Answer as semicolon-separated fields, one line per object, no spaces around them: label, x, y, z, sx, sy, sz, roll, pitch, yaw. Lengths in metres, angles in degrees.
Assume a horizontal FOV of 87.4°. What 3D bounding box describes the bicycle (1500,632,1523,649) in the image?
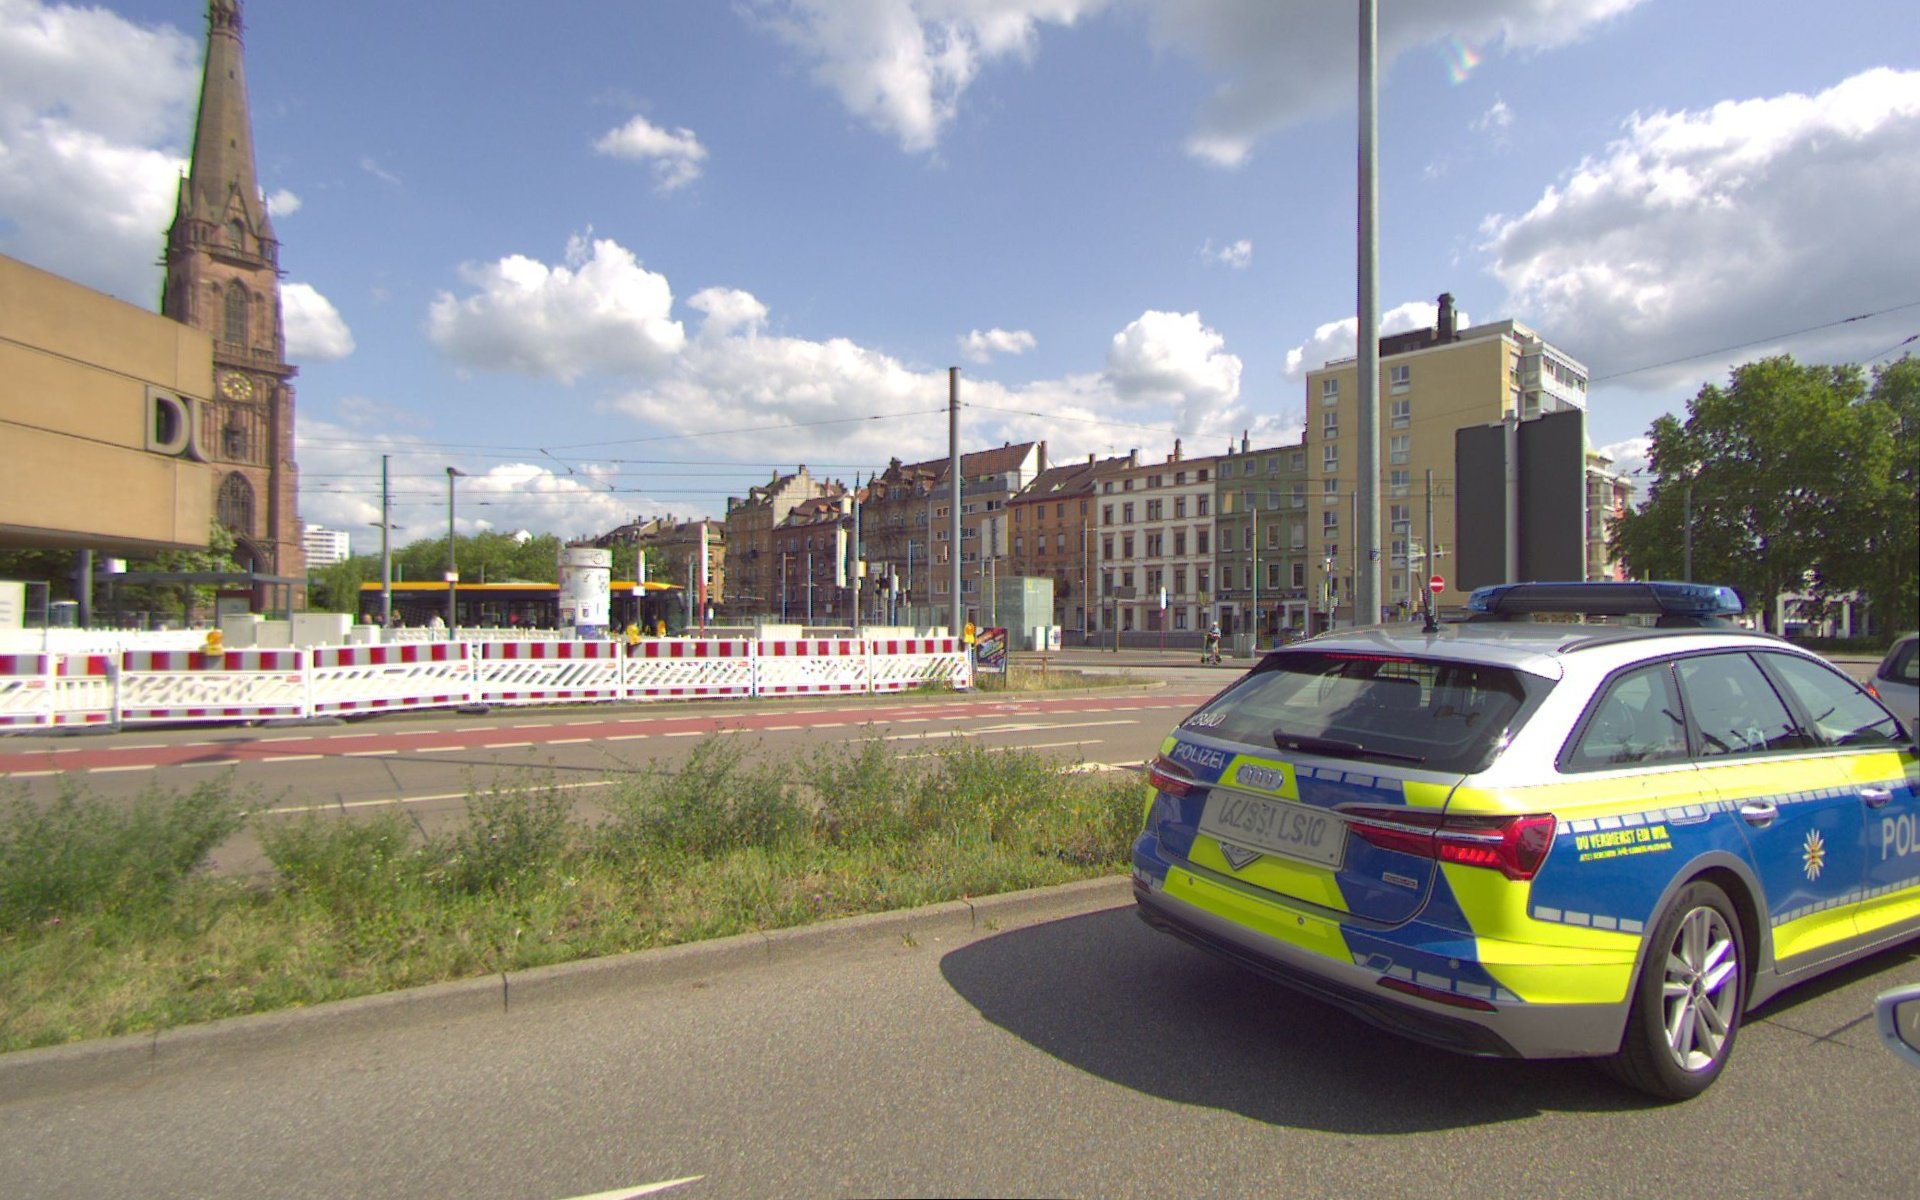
bicycle;40.701;2.978;74.103;1.791;1.275;0.789;1;-1;-34

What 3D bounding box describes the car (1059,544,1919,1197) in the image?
car;2.826;0.719;4.441;4.562;1.589;1.871;1;-2;-31

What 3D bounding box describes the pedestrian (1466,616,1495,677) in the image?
pedestrian;16.929;1.486;32.653;0.753;1.928;0.825;2;0;29

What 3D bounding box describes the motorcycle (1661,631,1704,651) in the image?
motorcycle;46.839;2.663;65.156;0.890;1.254;2.214;0;-1;-12

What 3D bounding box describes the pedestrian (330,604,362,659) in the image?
pedestrian;-18.570;0.954;30.382;0.549;1.651;0.732;1;-1;-7

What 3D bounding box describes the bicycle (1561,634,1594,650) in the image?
bicycle;44.779;3.029;72.827;1.922;1.162;0.792;-1;-1;43

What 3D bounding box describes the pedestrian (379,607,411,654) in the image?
pedestrian;-20.075;1.076;35.718;0.751;1.653;0.652;1;-1;-4

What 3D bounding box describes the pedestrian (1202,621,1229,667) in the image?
pedestrian;10.456;1.794;41.145;0.754;1.821;1.026;2;0;32

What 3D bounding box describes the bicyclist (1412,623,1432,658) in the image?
bicyclist;24.480;2.129;53.241;0.768;1.821;0.706;2;0;41

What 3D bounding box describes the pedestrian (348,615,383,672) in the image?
pedestrian;-17.653;1.283;29.811;0.760;1.653;0.645;2;-1;-41

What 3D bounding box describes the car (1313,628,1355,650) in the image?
car;27.318;2.850;73.554;1.861;1.516;3.902;1;-2;4

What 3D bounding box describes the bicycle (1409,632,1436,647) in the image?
bicycle;35.627;3.030;77.369;1.783;1.118;0.792;0;-1;42

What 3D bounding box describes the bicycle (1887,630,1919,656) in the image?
bicycle;54.438;2.444;57.373;0.807;1.433;2.146;0;0;-44

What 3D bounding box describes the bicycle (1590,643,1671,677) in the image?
bicycle;24.627;2.182;36.940;0.984;1.204;2.281;2;-3;-32

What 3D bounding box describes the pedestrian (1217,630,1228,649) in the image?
pedestrian;21.433;3.249;82.055;0.689;1.554;0.553;-2;-3;41

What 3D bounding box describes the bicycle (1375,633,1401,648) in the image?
bicycle;33.765;3.200;79.233;1.783;1.118;0.792;0;-1;42

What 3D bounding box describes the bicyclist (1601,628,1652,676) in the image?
bicyclist;24.577;1.909;37.043;0.984;1.753;1.290;2;-2;-32

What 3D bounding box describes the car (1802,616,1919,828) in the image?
car;8.577;0.897;7.864;3.953;1.494;1.839;1;-2;-30

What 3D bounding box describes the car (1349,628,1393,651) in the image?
car;29.672;2.865;72.583;1.861;1.516;3.903;1;-2;5

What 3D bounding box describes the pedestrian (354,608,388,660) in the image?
pedestrian;-19.150;1.101;32.682;0.640;1.653;0.766;1;-1;-2

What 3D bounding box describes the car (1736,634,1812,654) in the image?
car;59.019;3.177;72.896;1.615;1.344;3.967;3;-3;-31

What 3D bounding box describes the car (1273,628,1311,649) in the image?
car;25.134;2.914;76.212;1.861;1.516;3.902;1;-2;4

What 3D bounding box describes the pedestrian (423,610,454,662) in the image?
pedestrian;-16.839;1.158;32.433;0.641;1.653;0.765;1;-1;-9

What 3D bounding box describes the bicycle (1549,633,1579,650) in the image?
bicycle;43.540;2.975;72.407;1.784;1.162;0.792;0;-1;43

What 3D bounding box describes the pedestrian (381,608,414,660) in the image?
pedestrian;-18.367;1.111;32.816;0.640;1.653;0.765;1;-1;-4

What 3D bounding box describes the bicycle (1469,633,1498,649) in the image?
bicycle;38.599;3.013;74.042;1.783;1.118;0.792;0;-1;42

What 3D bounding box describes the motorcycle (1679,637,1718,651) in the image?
motorcycle;50.417;2.974;68.567;2.003;0.929;0.812;-1;-1;7

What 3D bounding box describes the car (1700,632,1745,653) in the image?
car;55.411;3.112;73.015;3.970;1.432;1.888;4;-4;-42

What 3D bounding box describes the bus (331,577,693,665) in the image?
bus;-16.893;0.809;38.448;12.586;3.177;2.835;0;-1;0

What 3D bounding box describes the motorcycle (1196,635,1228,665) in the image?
motorcycle;10.610;2.105;42.331;0.478;1.253;1.437;2;-2;-27
